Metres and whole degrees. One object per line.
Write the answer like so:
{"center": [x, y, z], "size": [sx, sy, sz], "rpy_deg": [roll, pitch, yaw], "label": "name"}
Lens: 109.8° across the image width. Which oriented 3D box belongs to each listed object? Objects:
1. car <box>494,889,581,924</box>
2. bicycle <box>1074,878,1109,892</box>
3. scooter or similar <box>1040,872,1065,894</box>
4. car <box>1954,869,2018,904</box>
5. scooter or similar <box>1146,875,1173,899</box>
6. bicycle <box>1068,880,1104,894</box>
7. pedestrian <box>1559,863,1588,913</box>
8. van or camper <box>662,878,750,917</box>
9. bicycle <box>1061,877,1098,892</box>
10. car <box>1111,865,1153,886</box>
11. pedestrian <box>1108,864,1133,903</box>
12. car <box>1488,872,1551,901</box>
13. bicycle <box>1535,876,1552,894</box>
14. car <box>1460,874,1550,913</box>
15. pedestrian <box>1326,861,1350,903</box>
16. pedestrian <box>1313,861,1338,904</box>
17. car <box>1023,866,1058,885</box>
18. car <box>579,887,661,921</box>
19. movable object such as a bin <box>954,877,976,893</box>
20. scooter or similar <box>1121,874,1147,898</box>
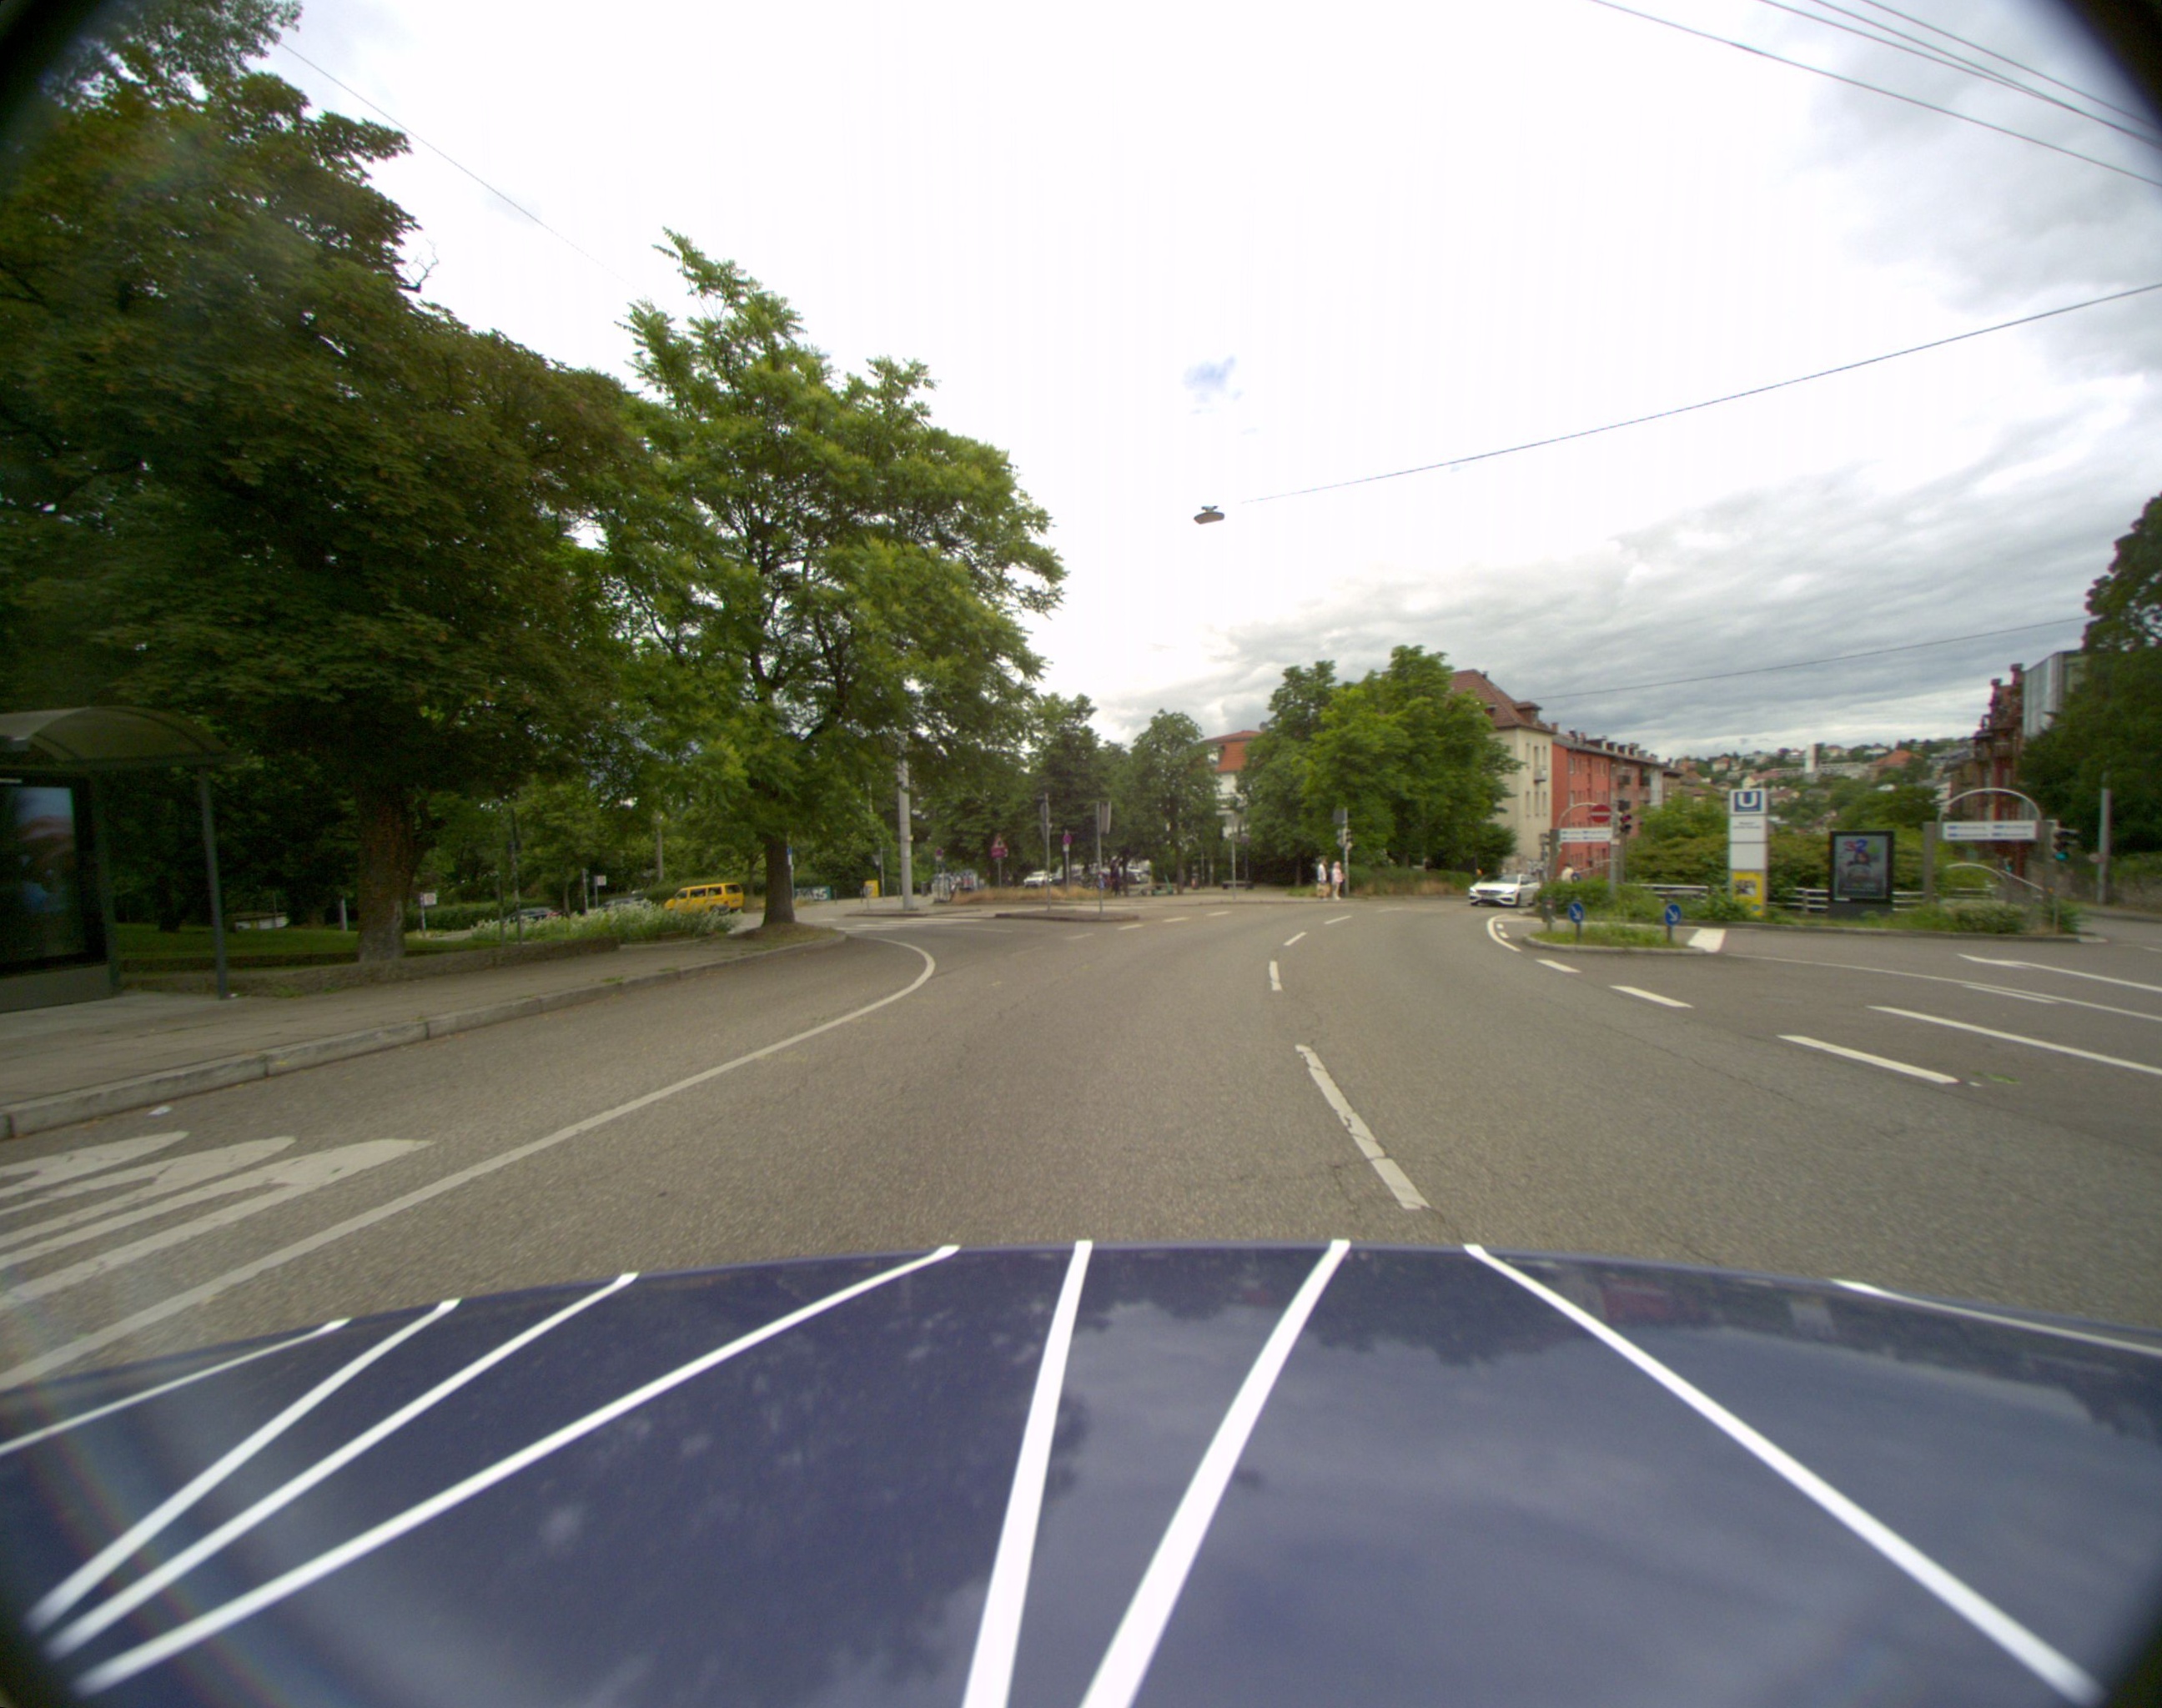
{"center": [-33.886, 3.250, 47.449], "size": [3.998, 2.001, 2.000], "rpy_deg": [0, -1, -2], "label": "car"}
{"center": [0.944, 2.617, 65.389], "size": [2.959, 1.138, 0.921], "rpy_deg": [0, -1, -30], "label": "bicycle"}
{"center": [-1.633, 1.652, 43.333], "size": [1.321, 1.240, 0.463], "rpy_deg": [-1, -1, -23], "label": "scooter or similar"}
{"center": [55.959, 1.943, 47.051], "size": [1.994, 2.001, 4.009], "rpy_deg": [-1, -1, 43], "label": "car"}
{"center": [3.989, 1.674, 38.542], "size": [1.245, 1.219, 0.502], "rpy_deg": [-2, -1, 24], "label": "scooter or similar"}
{"center": [0.396, 2.751, 63.875], "size": [2.959, 1.138, 0.921], "rpy_deg": [0, -1, -30], "label": "bicycle"}
{"center": [18.258, 1.258, 28.164], "size": [0.615, 1.849, 0.705], "rpy_deg": [1, -2, -39], "label": "pedestrian"}
{"center": [-22.593, 2.606, 45.841], "size": [4.464, 1.966, 1.891], "rpy_deg": [-4, 1, 12], "label": "van or camper"}
{"center": [-0.107, 2.487, 62.061], "size": [2.959, 1.138, 0.921], "rpy_deg": [0, -1, -30], "label": "bicycle"}
{"center": [4.994, 2.064, 74.301], "size": [3.780, 2.001, 2.003], "rpy_deg": [-1, -1, 15], "label": "car"}
{"center": [1.965, 1.471, 38.018], "size": [0.858, 1.875, 0.963], "rpy_deg": [-1, -1, -27], "label": "pedestrian"}
{"center": [23.830, 1.742, 41.218], "size": [1.995, 1.478, 4.239], "rpy_deg": [-2, -2, 44], "label": "car"}
{"center": [32.690, 2.170, 53.720], "size": [0.639, 1.137, 2.068], "rpy_deg": [3, 1, 20], "label": "bicycle"}
{"center": [17.735, 1.603, 31.707], "size": [4.239, 1.390, 1.994], "rpy_deg": [1, 1, -43], "label": "car"}
{"center": [10.873, 1.180, 32.189], "size": [0.729, 1.703, 0.615], "rpy_deg": [1, 2, -41], "label": "pedestrian"}
{"center": [9.949, 1.163, 30.924], "size": [0.729, 1.703, 0.615], "rpy_deg": [1, 2, -41], "label": "pedestrian"}
{"center": [-4.009, 2.134, 76.535], "size": [1.996, 1.892, 4.721], "rpy_deg": [-1, -1, 17], "label": "car"}
{"center": [-28.378, 3.039, 46.834], "size": [3.994, 2.001, 2.002], "rpy_deg": [-1, -1, 10], "label": "car"}
{"center": [-9.035, 2.414, 59.012], "size": [1.317, 1.159, 1.059], "rpy_deg": [0, -1, -37], "label": "movable object such as a bin"}
{"center": [2.767, 1.685, 39.539], "size": [1.245, 1.219, 0.502], "rpy_deg": [-2, -1, 24], "label": "scooter or similar"}
